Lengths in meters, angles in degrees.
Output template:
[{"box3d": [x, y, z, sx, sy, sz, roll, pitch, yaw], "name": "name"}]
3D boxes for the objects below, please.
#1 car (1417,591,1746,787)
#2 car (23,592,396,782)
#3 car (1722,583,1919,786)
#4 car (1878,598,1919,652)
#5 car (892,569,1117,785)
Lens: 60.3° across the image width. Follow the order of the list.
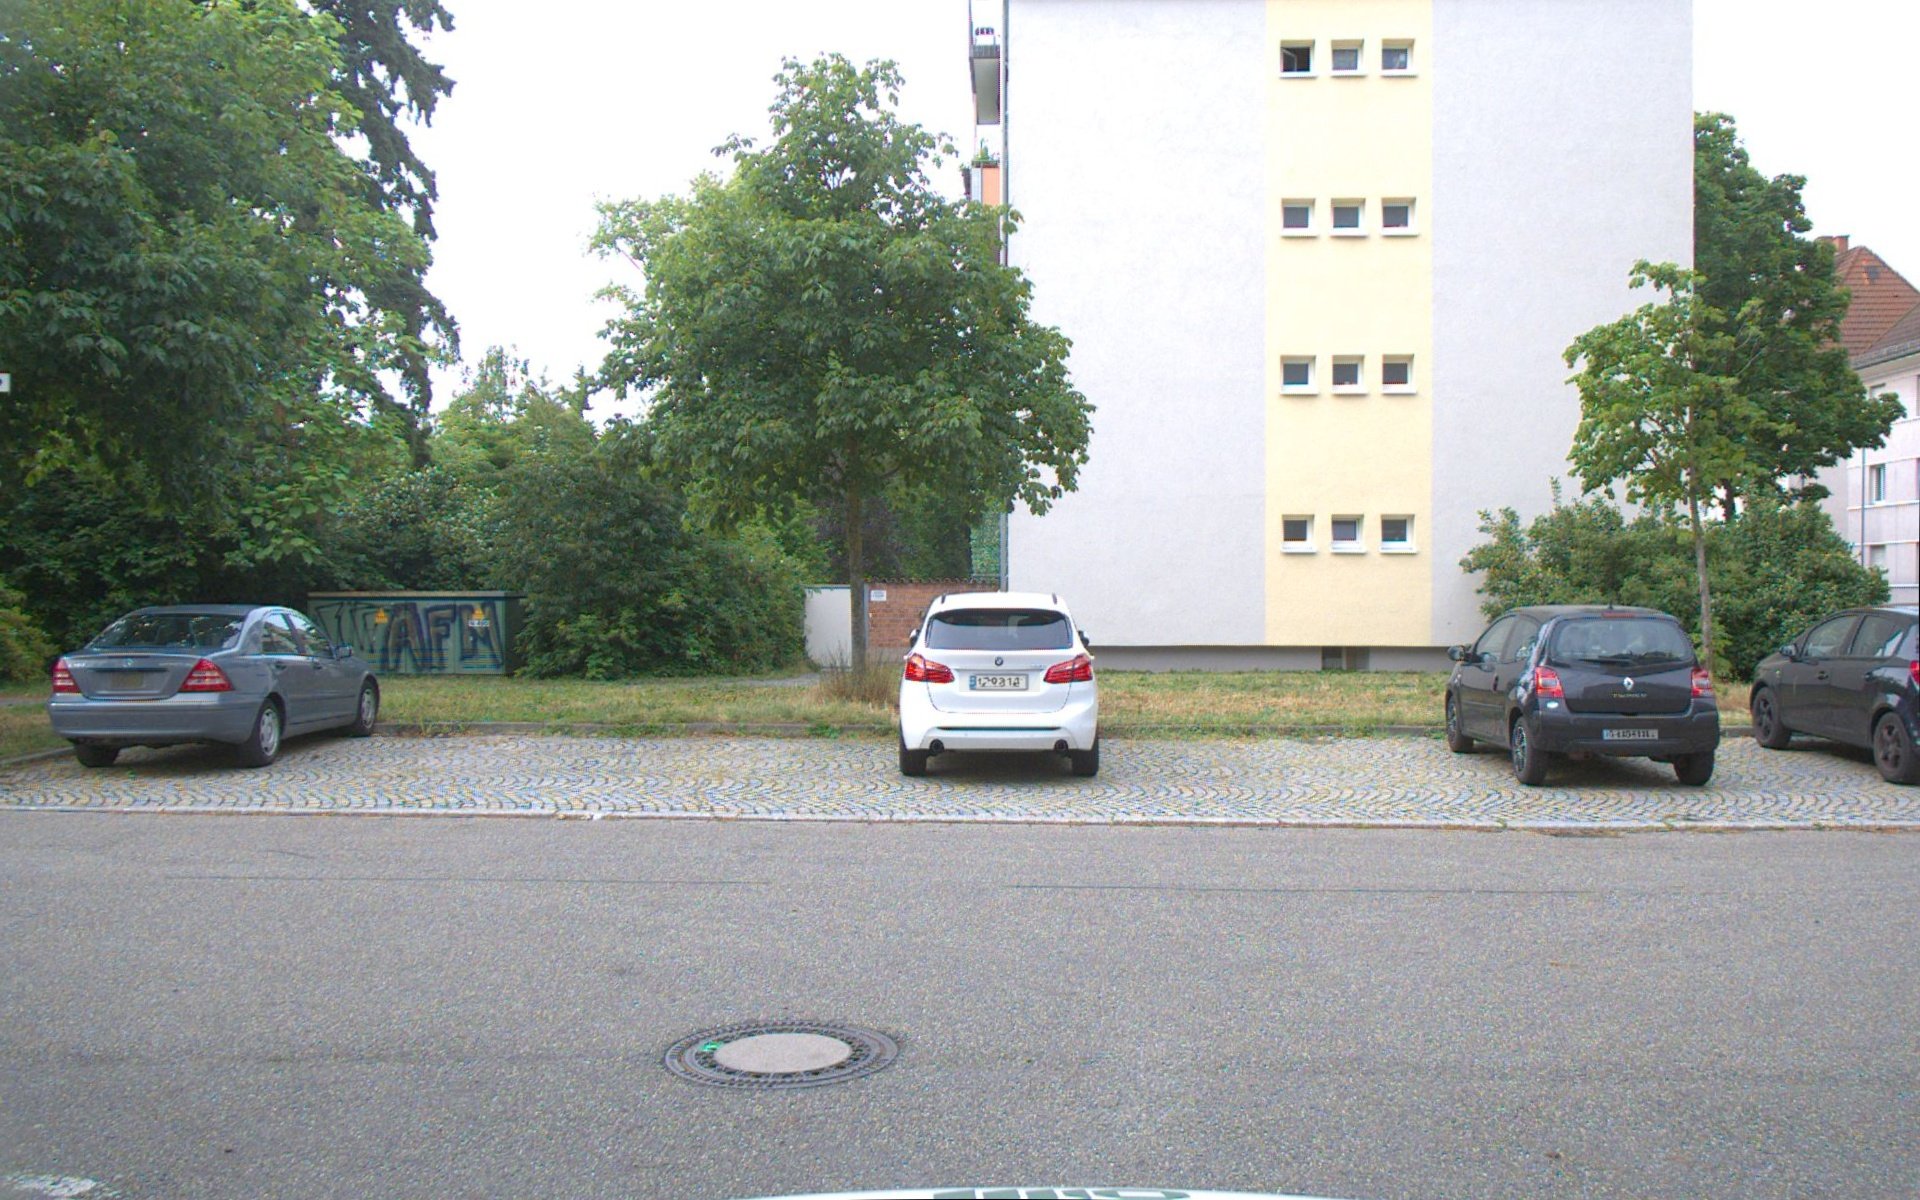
[{"box3d": [5.622, 0.698, 15.585, 1.796, 1.489, 4.564, 0, 1, 6], "name": "car"}, {"box3d": [-6.955, 0.705, 15.904, 1.641, 1.479, 4.559, 0, 1, -2], "name": "car"}, {"box3d": [8.805, 0.661, 15.389, 1.796, 1.593, 4.360, 0, 1, 6], "name": "car"}, {"box3d": [23.819, 0.634, 39.494, 1.661, 1.280, 4.016, 2, 0, 2], "name": "car"}, {"box3d": [0.445, 0.600, 15.799, 1.839, 1.587, 4.152, 1, 3, 2], "name": "car"}]
